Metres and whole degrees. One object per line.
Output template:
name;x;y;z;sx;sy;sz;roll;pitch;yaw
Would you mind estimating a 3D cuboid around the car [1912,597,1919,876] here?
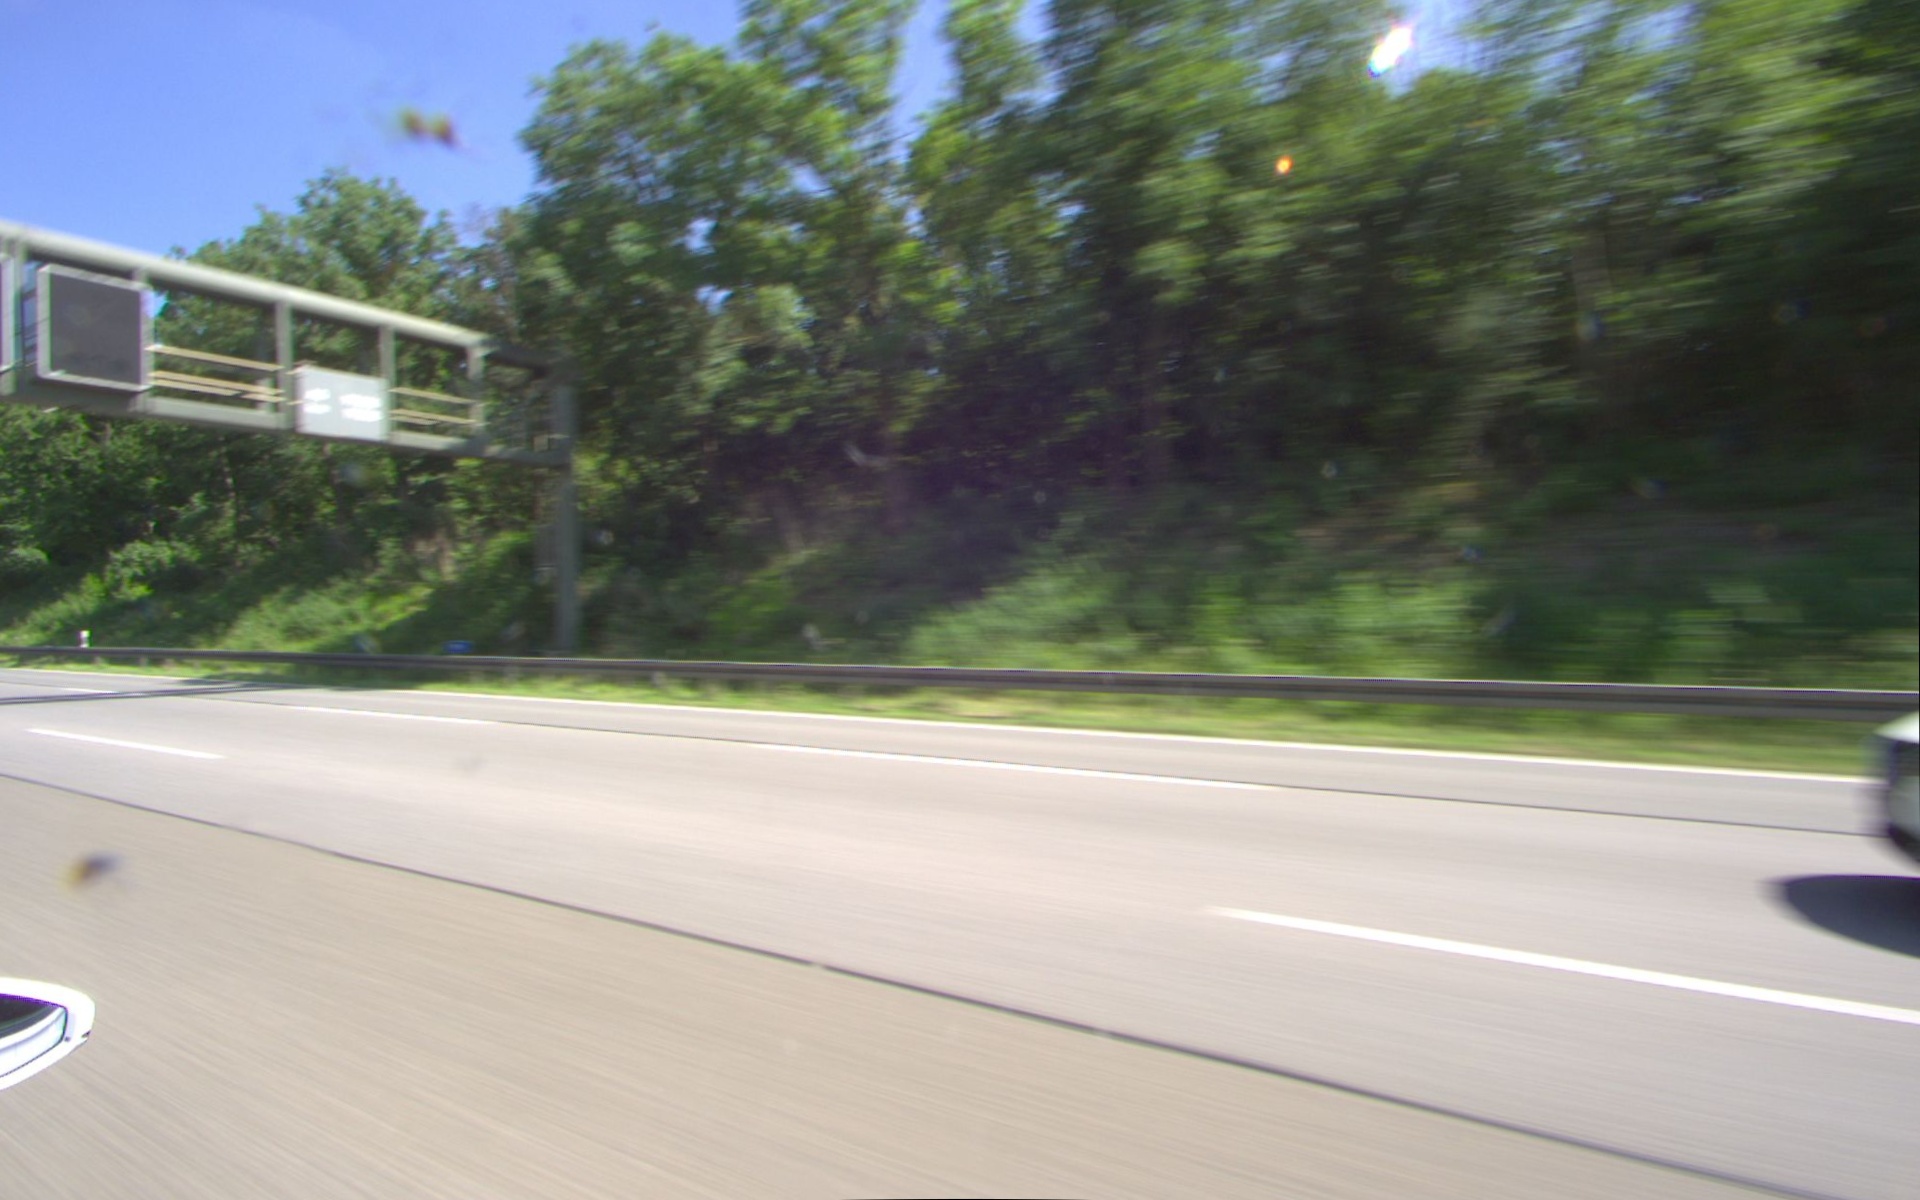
car;6.717;0.729;3.956;3.978;1.588;1.840;-1;-2;33
